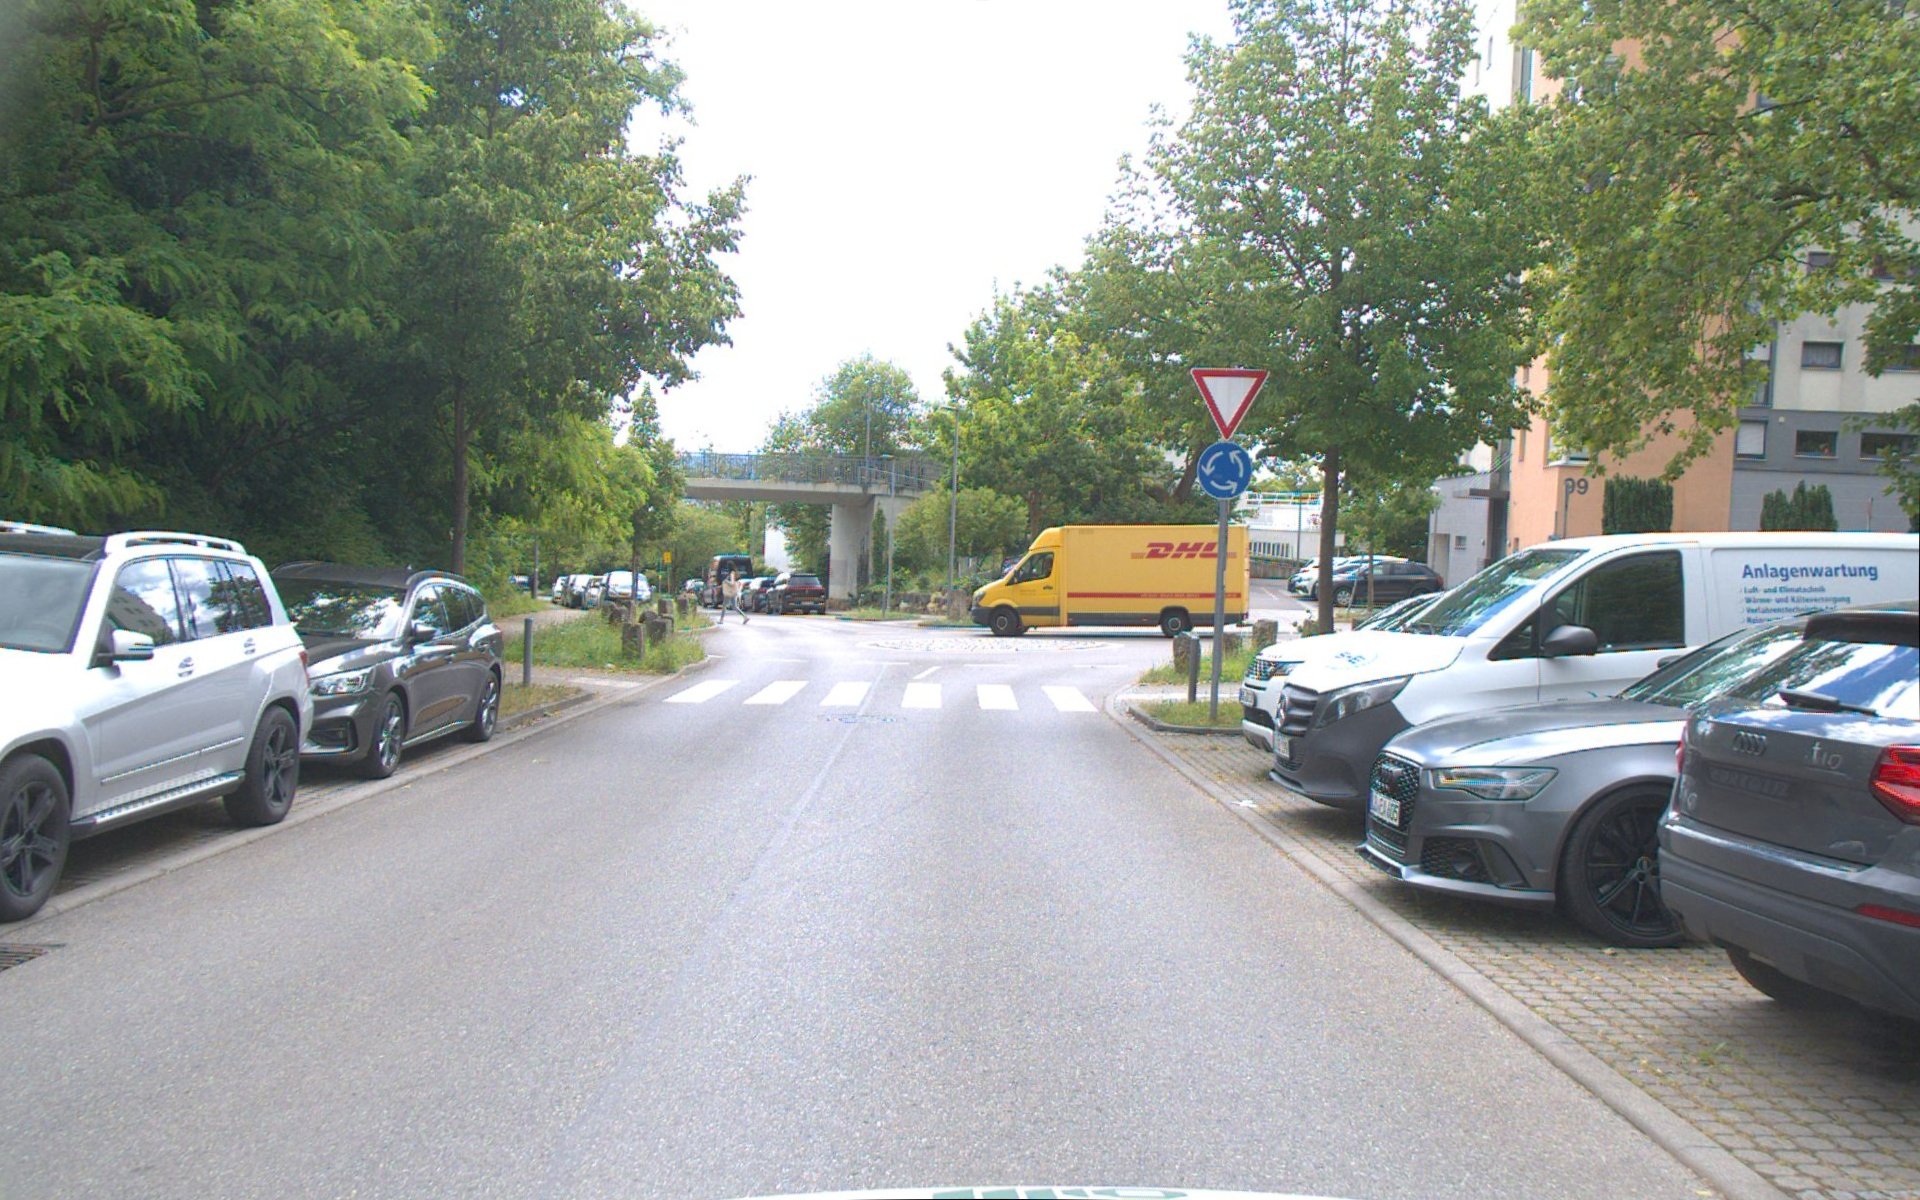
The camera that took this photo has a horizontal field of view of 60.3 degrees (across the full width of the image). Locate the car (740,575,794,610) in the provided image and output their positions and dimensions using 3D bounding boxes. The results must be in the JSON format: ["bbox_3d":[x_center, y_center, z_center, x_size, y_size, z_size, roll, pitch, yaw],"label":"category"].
[{"bbox_3d":[-8.530,-0.335,72.901,1.672,1.523,4.099,0,0,-17],"label":"car"}]

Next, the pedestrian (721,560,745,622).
[{"bbox_3d":[-6.618,-0.270,48.242,0.645,1.751,0.738,2,1,-8],"label":"pedestrian"}]

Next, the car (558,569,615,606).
[{"bbox_3d":[-16.586,-0.551,73.303,1.857,1.535,4.426,2,0,-20],"label":"car"}]

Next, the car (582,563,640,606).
[{"bbox_3d":[-13.098,-0.610,61.921,1.854,1.485,3.532,2,1,-16],"label":"car"}]

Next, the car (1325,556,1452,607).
[{"bbox_3d":[14.394,-0.626,55.754,3.955,1.544,1.757,2,1,10],"label":"car"}]

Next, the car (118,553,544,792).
[{"bbox_3d":[-4.825,0.447,13.441,1.655,1.490,4.457,5,1,0],"label":"car"}]

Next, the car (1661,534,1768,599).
[{"bbox_3d":[20.317,-0.898,44.686,1.535,1.687,3.780,0,1,7],"label":"car"}]

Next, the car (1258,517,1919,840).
[{"bbox_3d":[4.422,0.439,10.619,4.677,1.863,1.842,0,1,-1],"label":"car"}]

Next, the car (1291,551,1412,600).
[{"bbox_3d":[14.320,-0.903,60.709,4.033,1.621,1.693,2,1,3],"label":"car"}]

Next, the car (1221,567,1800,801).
[{"bbox_3d":[4.319,0.625,13.404,4.067,1.630,1.739,2,1,-2],"label":"car"}]

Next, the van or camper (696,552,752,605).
[{"bbox_3d":[-11.977,-1.056,83.669,1.962,2.567,5.445,-1,0,-17],"label":"van or camper"}]

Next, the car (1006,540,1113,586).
[{"bbox_3d":[3.443,-1.278,57.011,3.573,1.464,1.685,2,1,5],"label":"car"}]

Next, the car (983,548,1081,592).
[{"bbox_3d":[2.758,-1.142,62.500,3.573,1.524,1.685,2,1,5],"label":"car"}]

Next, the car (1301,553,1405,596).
[{"bbox_3d":[15.541,-1.017,65.504,3.896,1.544,1.758,2,1,11],"label":"car"}]

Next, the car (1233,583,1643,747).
[{"bbox_3d":[4.609,0.617,16.197,3.446,1.487,1.735,1,0,-9],"label":"car"}]

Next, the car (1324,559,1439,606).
[{"bbox_3d":[14.720,-0.628,57.919,3.745,1.484,1.694,2,1,10],"label":"car"}]

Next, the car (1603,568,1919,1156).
[{"bbox_3d":[4.335,0.663,5.372,3.749,1.546,1.910,0,1,-4],"label":"car"}]

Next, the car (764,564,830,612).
[{"bbox_3d":[-6.621,-0.434,66.756,1.785,1.708,4.347,0,-3,-18],"label":"car"}]

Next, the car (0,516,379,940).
[{"bbox_3d":[-4.677,0.437,8.399,1.763,1.643,4.478,5,1,0],"label":"car"}]

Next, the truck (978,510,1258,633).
[{"bbox_3d":[3.970,-0.648,41.355,6.657,2.750,2.476,-1,-4,14],"label":"truck"}]

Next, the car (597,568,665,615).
[{"bbox_3d":[-11.418,-0.318,57.251,1.759,1.493,3.978,2,1,-19],"label":"car"}]

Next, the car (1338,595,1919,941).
[{"bbox_3d":[3.908,0.694,7.893,3.748,1.395,1.842,0,1,-3],"label":"car"}]
